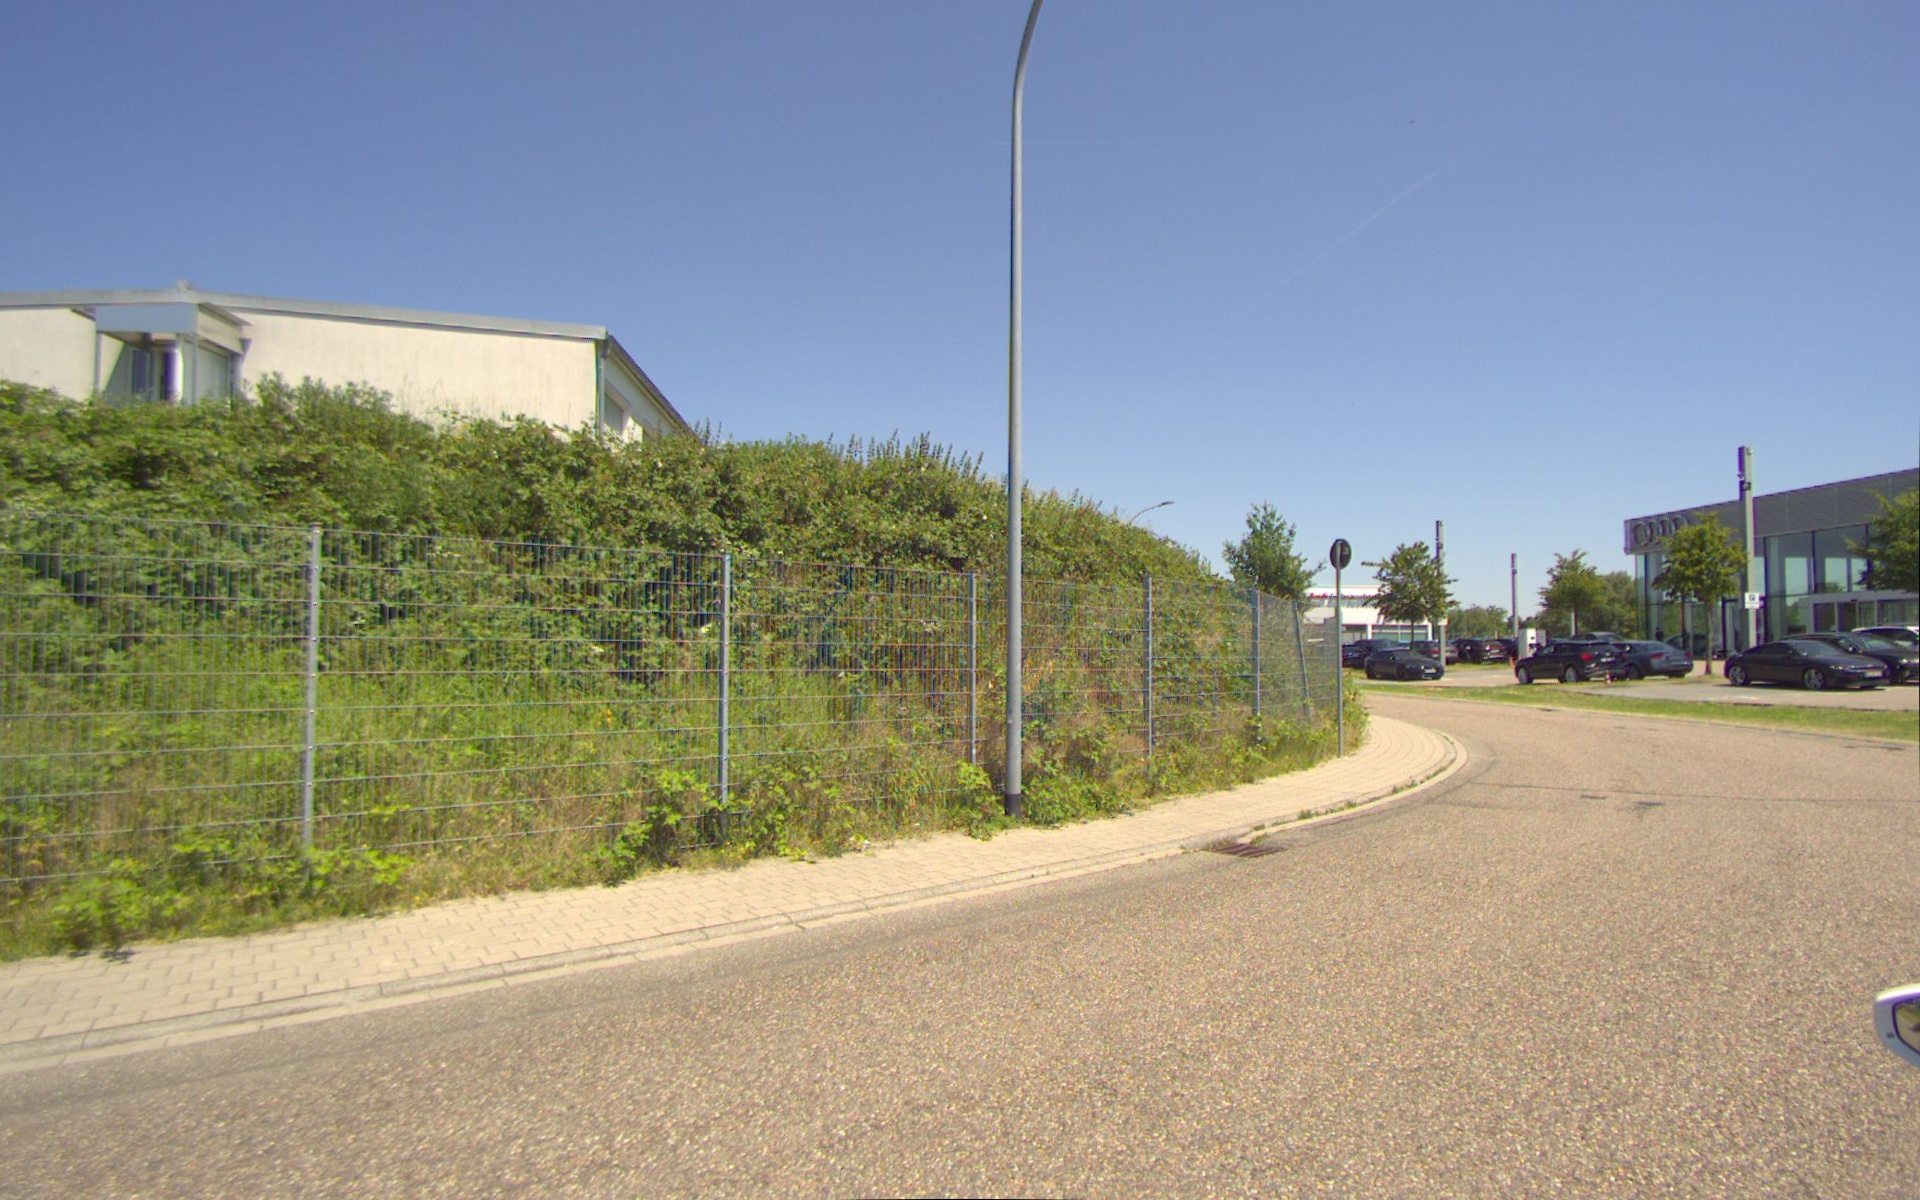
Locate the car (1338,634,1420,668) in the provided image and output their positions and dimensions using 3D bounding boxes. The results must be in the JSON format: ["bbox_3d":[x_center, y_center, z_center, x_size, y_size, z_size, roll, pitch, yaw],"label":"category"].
[{"bbox_3d":[22.691,2.811,54.624,1.930,1.618,4.985,-1,-5,-5],"label":"car"}]

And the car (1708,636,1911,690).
[{"bbox_3d":[24.436,1.809,29.141,1.931,1.393,4.309,-1,-3,-6],"label":"car"}]

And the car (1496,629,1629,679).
[{"bbox_3d":[21.479,1.927,36.046,1.858,1.592,4.225,-2,-3,-6],"label":"car"}]

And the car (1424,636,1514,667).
[{"bbox_3d":[27.467,2.810,54.438,1.930,1.475,4.985,-1,-5,-5],"label":"car"}]

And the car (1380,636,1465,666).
[{"bbox_3d":[25.004,2.804,54.512,1.930,1.475,4.985,-1,-5,-5],"label":"car"}]

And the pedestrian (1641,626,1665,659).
[{"bbox_3d":[39.075,2.403,56.672,0.758,1.799,0.745,0,-3,0],"label":"pedestrian"}]

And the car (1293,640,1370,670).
[{"bbox_3d":[19.977,3.013,54.245,1.930,1.475,4.985,-1,-5,-5],"label":"car"}]

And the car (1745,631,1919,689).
[{"bbox_3d":[26.808,1.762,30.303,1.931,1.573,5.002,-1,-3,-6],"label":"car"}]

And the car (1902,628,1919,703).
[{"bbox_3d":[20.286,1.173,17.924,1.850,1.473,5.020,-2,-3,-6],"label":"car"}]

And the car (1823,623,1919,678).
[{"bbox_3d":[29.337,1.515,30.701,1.931,1.634,4.286,-1,-3,-6],"label":"car"}]

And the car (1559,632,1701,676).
[{"bbox_3d":[23.914,1.943,36.055,1.931,1.384,4.225,-2,-3,-6],"label":"car"}]

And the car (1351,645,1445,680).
[{"bbox_3d":[20.247,2.881,46.663,1.930,1.384,4.718,-2,-2,-5],"label":"car"}]
